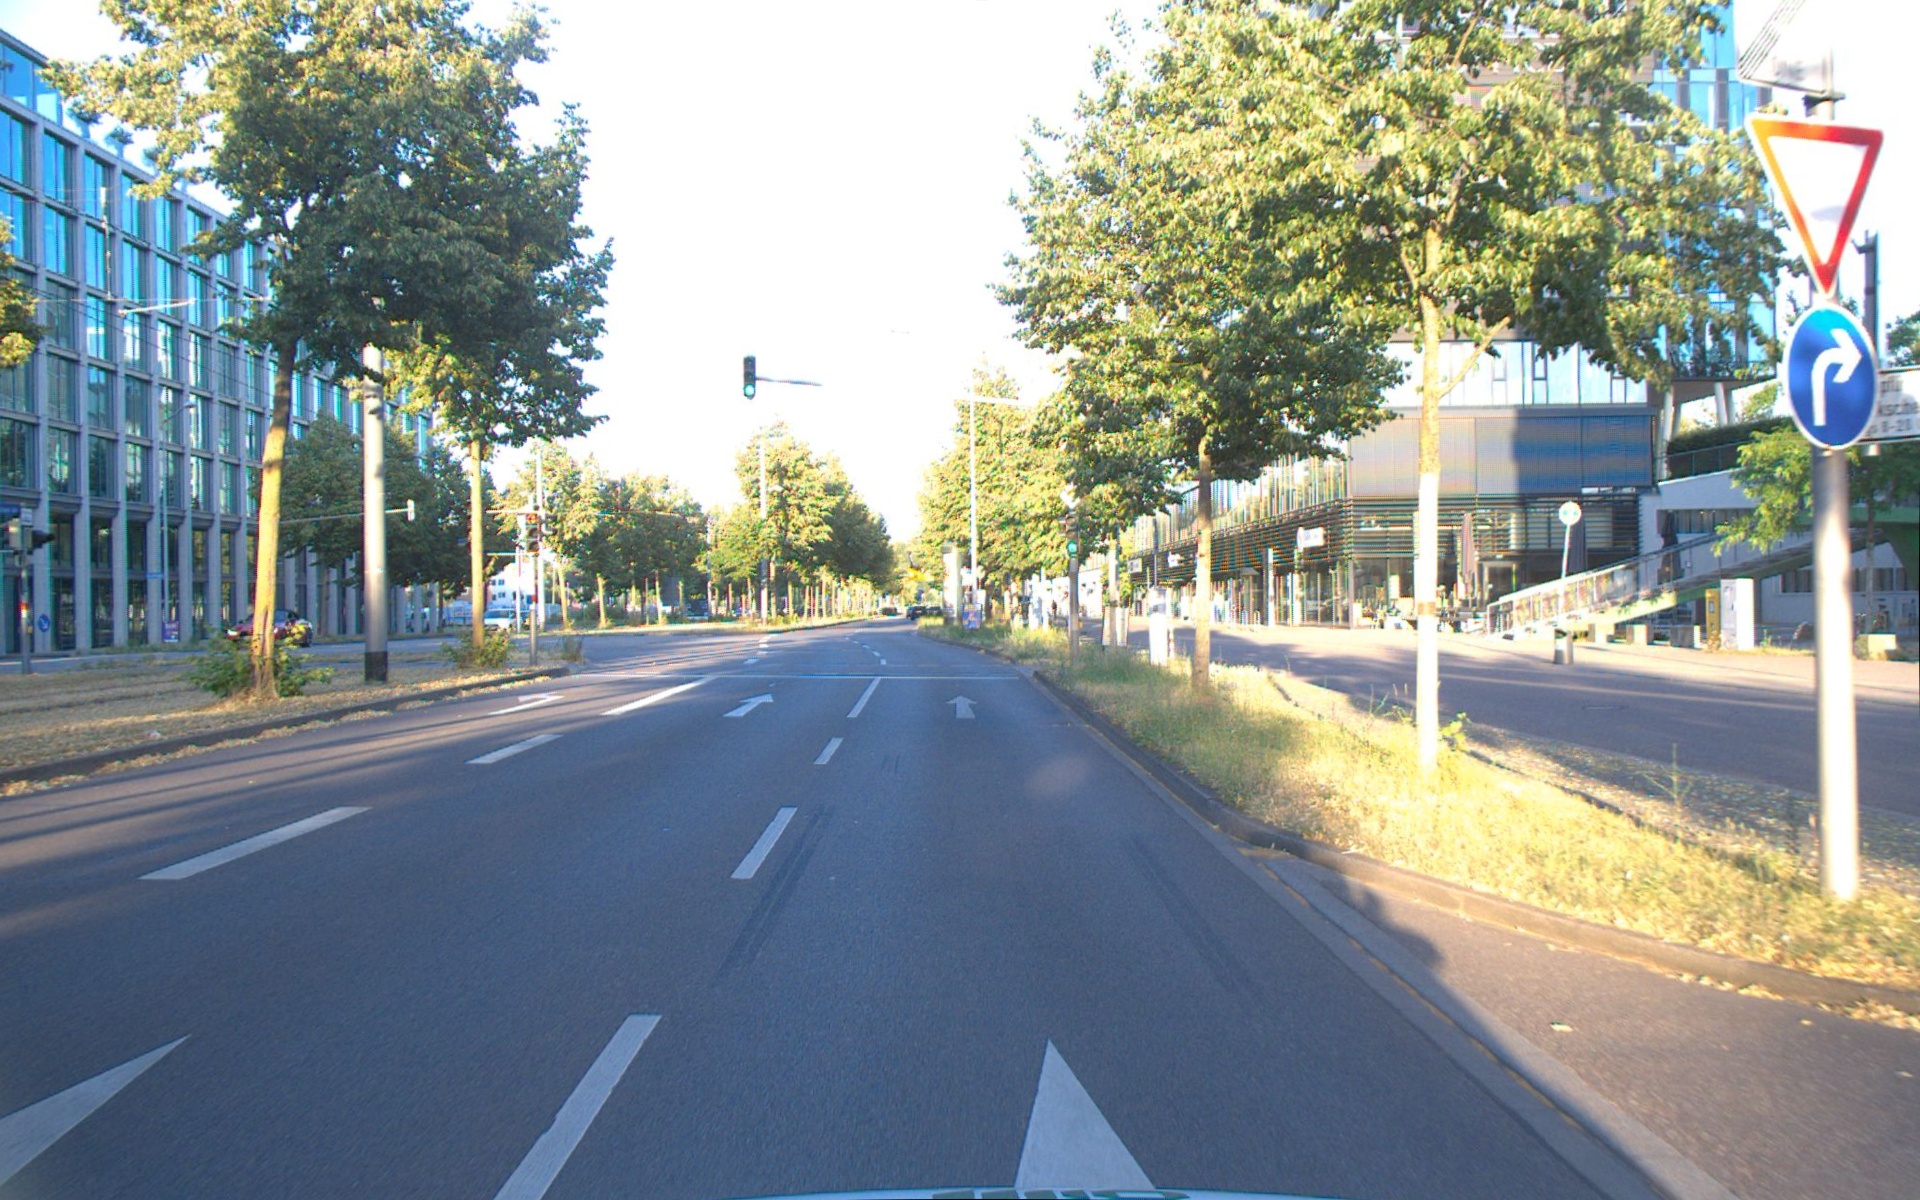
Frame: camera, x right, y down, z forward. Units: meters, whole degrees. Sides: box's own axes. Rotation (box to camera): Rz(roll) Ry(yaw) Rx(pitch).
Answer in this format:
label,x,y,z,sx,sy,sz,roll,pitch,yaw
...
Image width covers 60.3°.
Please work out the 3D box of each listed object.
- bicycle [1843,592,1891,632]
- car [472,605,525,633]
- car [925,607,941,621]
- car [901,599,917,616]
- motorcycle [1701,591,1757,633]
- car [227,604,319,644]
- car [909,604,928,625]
label,x,y,z,sx,sy,sz,roll,pitch,yaw
bicycle,24.604,0.317,44.877,0.555,1.070,1.769,-1,0,9
car,-23.064,0.937,82.758,1.751,1.355,3.670,-1,0,-3
car,-3.179,1.659,198.302,1.834,1.601,3.677,-1,0,0
car,-6.478,0.958,209.375,2.045,2.049,3.999,-1,0,-2
motorcycle,21.426,0.324,46.117,0.636,1.113,2.334,-1,0,5
car,-24.884,0.841,60.058,1.624,1.355,4.525,-1,0,-3
car,-4.307,1.491,172.819,1.953,2.049,3.999,-1,0,-2
